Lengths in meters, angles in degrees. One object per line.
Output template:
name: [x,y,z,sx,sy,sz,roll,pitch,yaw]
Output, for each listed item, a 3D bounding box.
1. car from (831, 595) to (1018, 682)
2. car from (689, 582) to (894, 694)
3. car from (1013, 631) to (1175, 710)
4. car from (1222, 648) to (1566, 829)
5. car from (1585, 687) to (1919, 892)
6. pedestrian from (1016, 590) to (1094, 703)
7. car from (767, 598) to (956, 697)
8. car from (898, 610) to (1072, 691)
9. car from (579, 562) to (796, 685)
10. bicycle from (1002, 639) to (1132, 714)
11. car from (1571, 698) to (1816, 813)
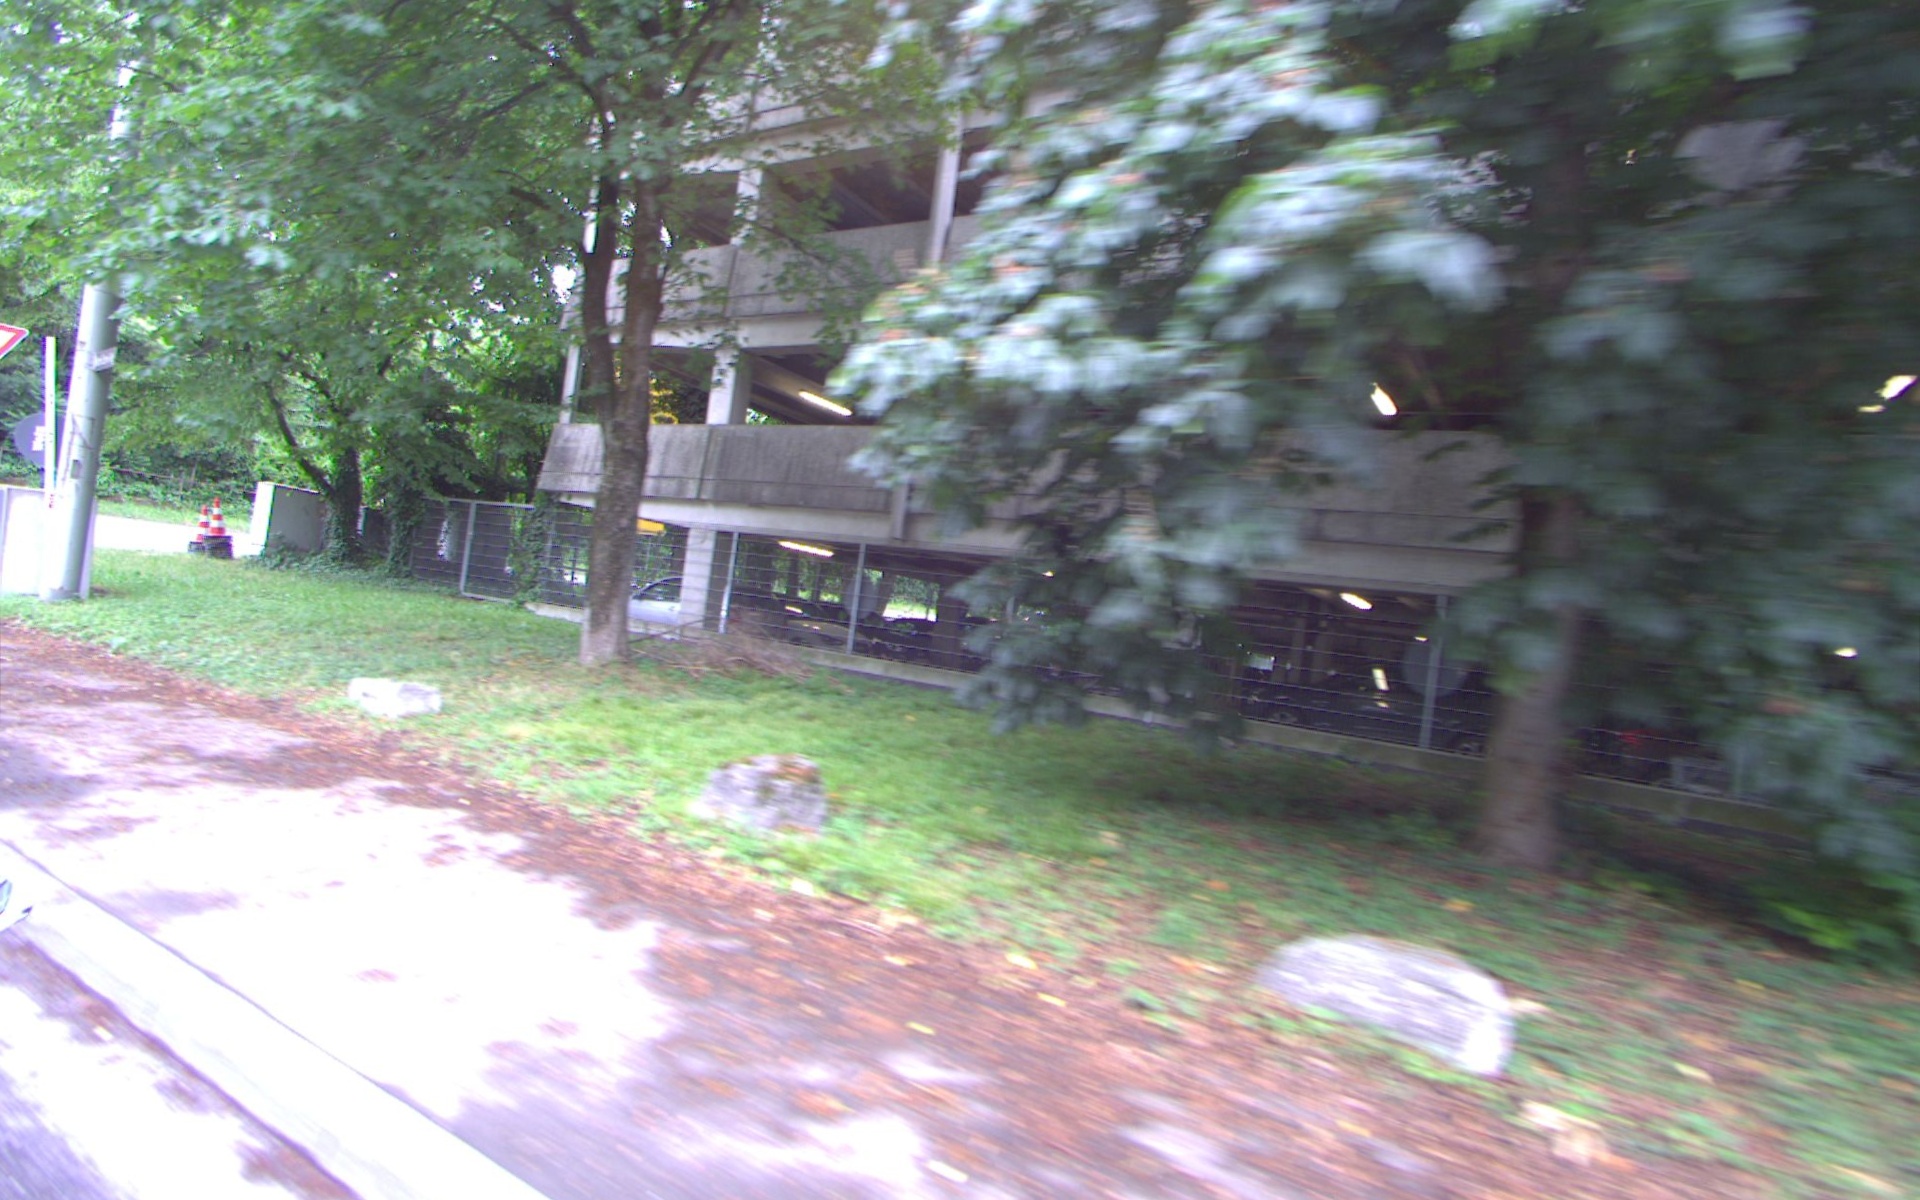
car: [-0.877,0.925,24.340,3.934,1.569,1.998,5,-3,32]
car: [-3.350,0.729,19.874,3.707,1.727,1.584,5,-3,32]
car: [4.327,2.271,32.683,4.658,1.855,1.923,7,-2,33]
car: [6.820,2.087,15.968,4.597,2.036,1.998,5,-3,31]
car: [10.870,2.473,13.603,3.935,2.036,1.998,5,-3,33]
pedestrian: [1.214,0.594,12.794,0.626,1.332,0.642,6,-2,31]
car: [-2.173,1.027,22.003,3.658,1.682,1.734,5,-3,32]
car: [0.634,1.300,26.279,3.934,1.569,1.998,5,-3,32]
car: [-4.908,0.401,18.018,3.658,1.727,1.484,5,-3,32]
bicycle: [1.325,0.946,12.504,1.469,0.744,0.448,6,-2,24]
car: [14.397,3.026,20.024,3.639,1.625,1.721,6,-3,30]
